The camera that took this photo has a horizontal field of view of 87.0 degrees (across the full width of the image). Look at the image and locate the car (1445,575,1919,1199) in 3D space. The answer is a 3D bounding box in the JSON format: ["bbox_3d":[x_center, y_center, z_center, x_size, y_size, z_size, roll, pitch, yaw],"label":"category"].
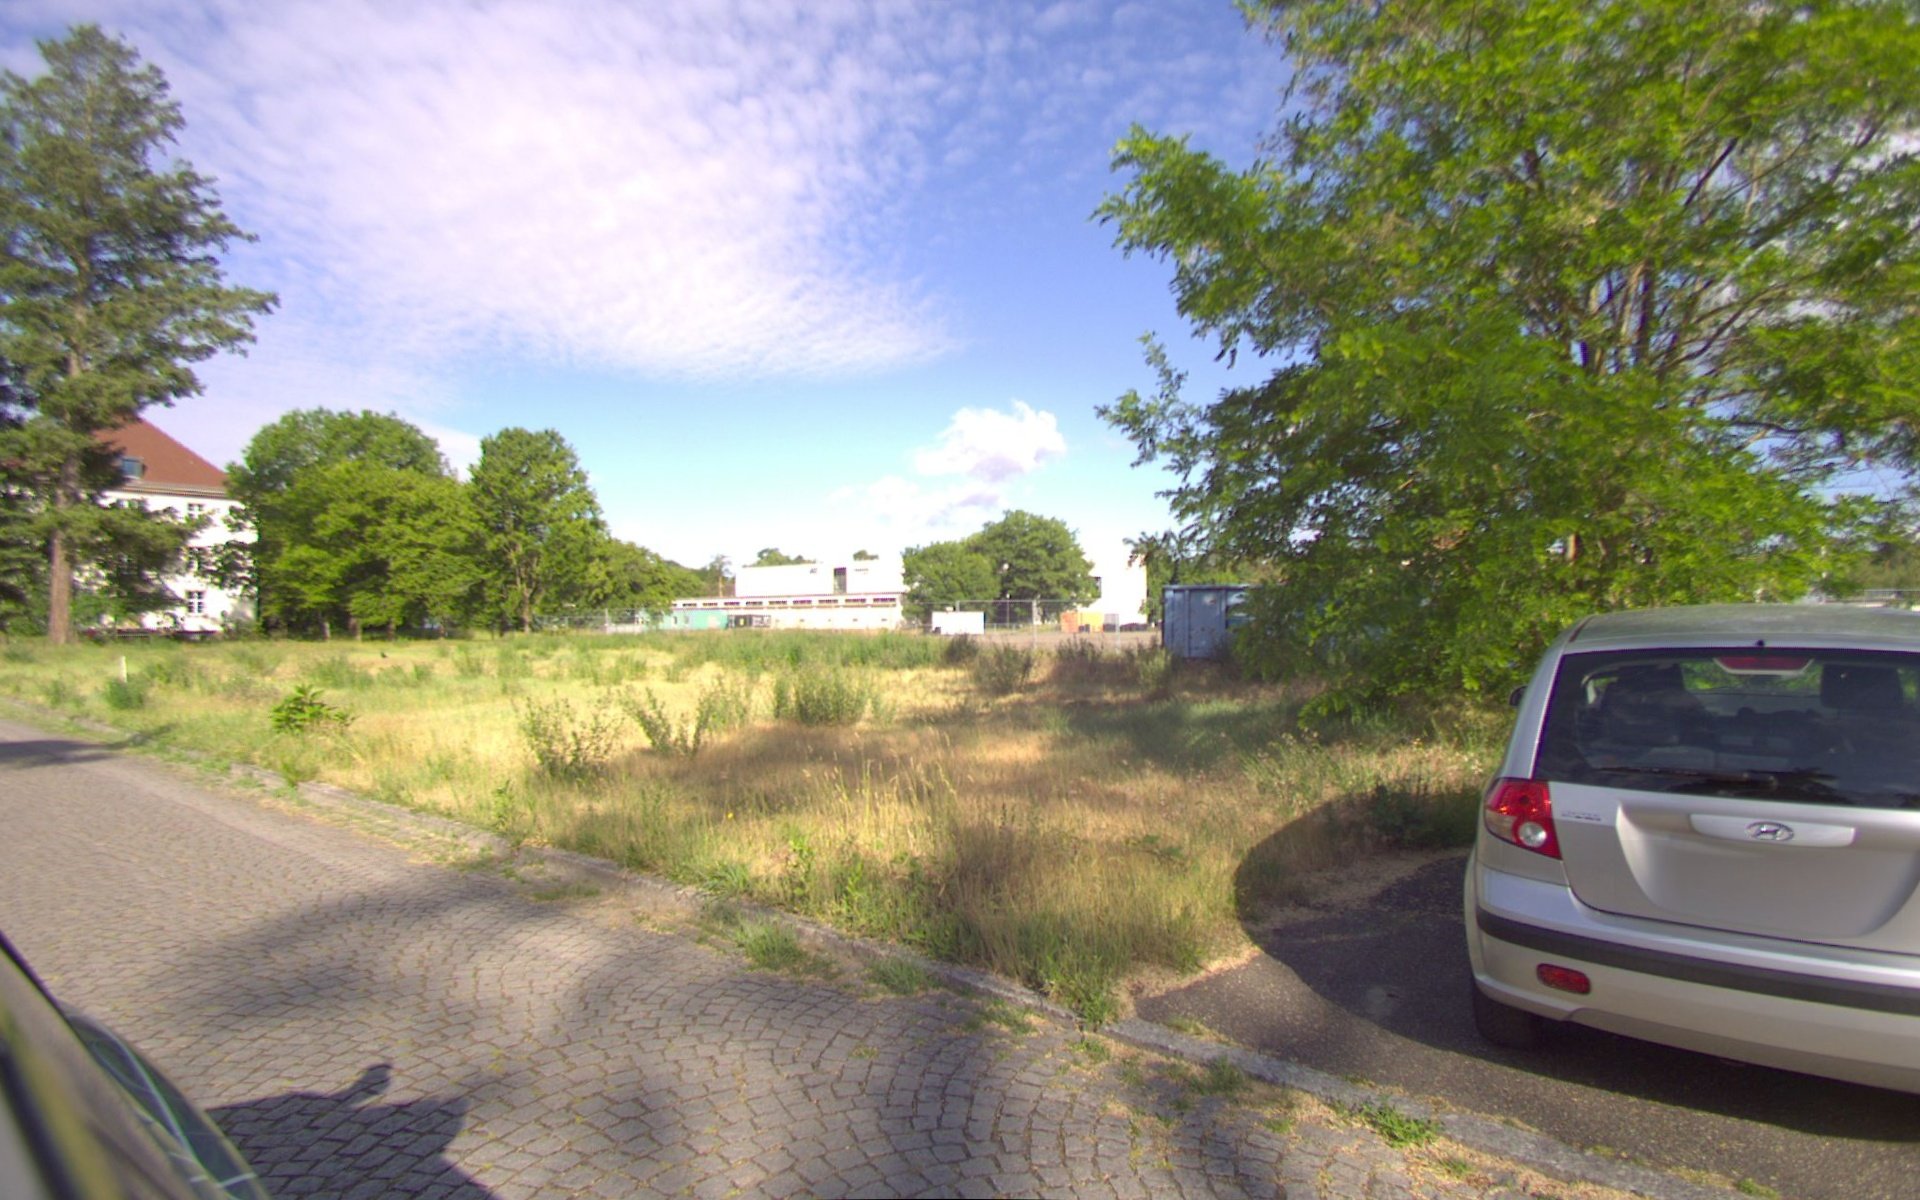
[{"bbox_3d":[3.158,0.694,3.929,1.634,1.482,3.433,-1,1,37],"label":"car"}]
